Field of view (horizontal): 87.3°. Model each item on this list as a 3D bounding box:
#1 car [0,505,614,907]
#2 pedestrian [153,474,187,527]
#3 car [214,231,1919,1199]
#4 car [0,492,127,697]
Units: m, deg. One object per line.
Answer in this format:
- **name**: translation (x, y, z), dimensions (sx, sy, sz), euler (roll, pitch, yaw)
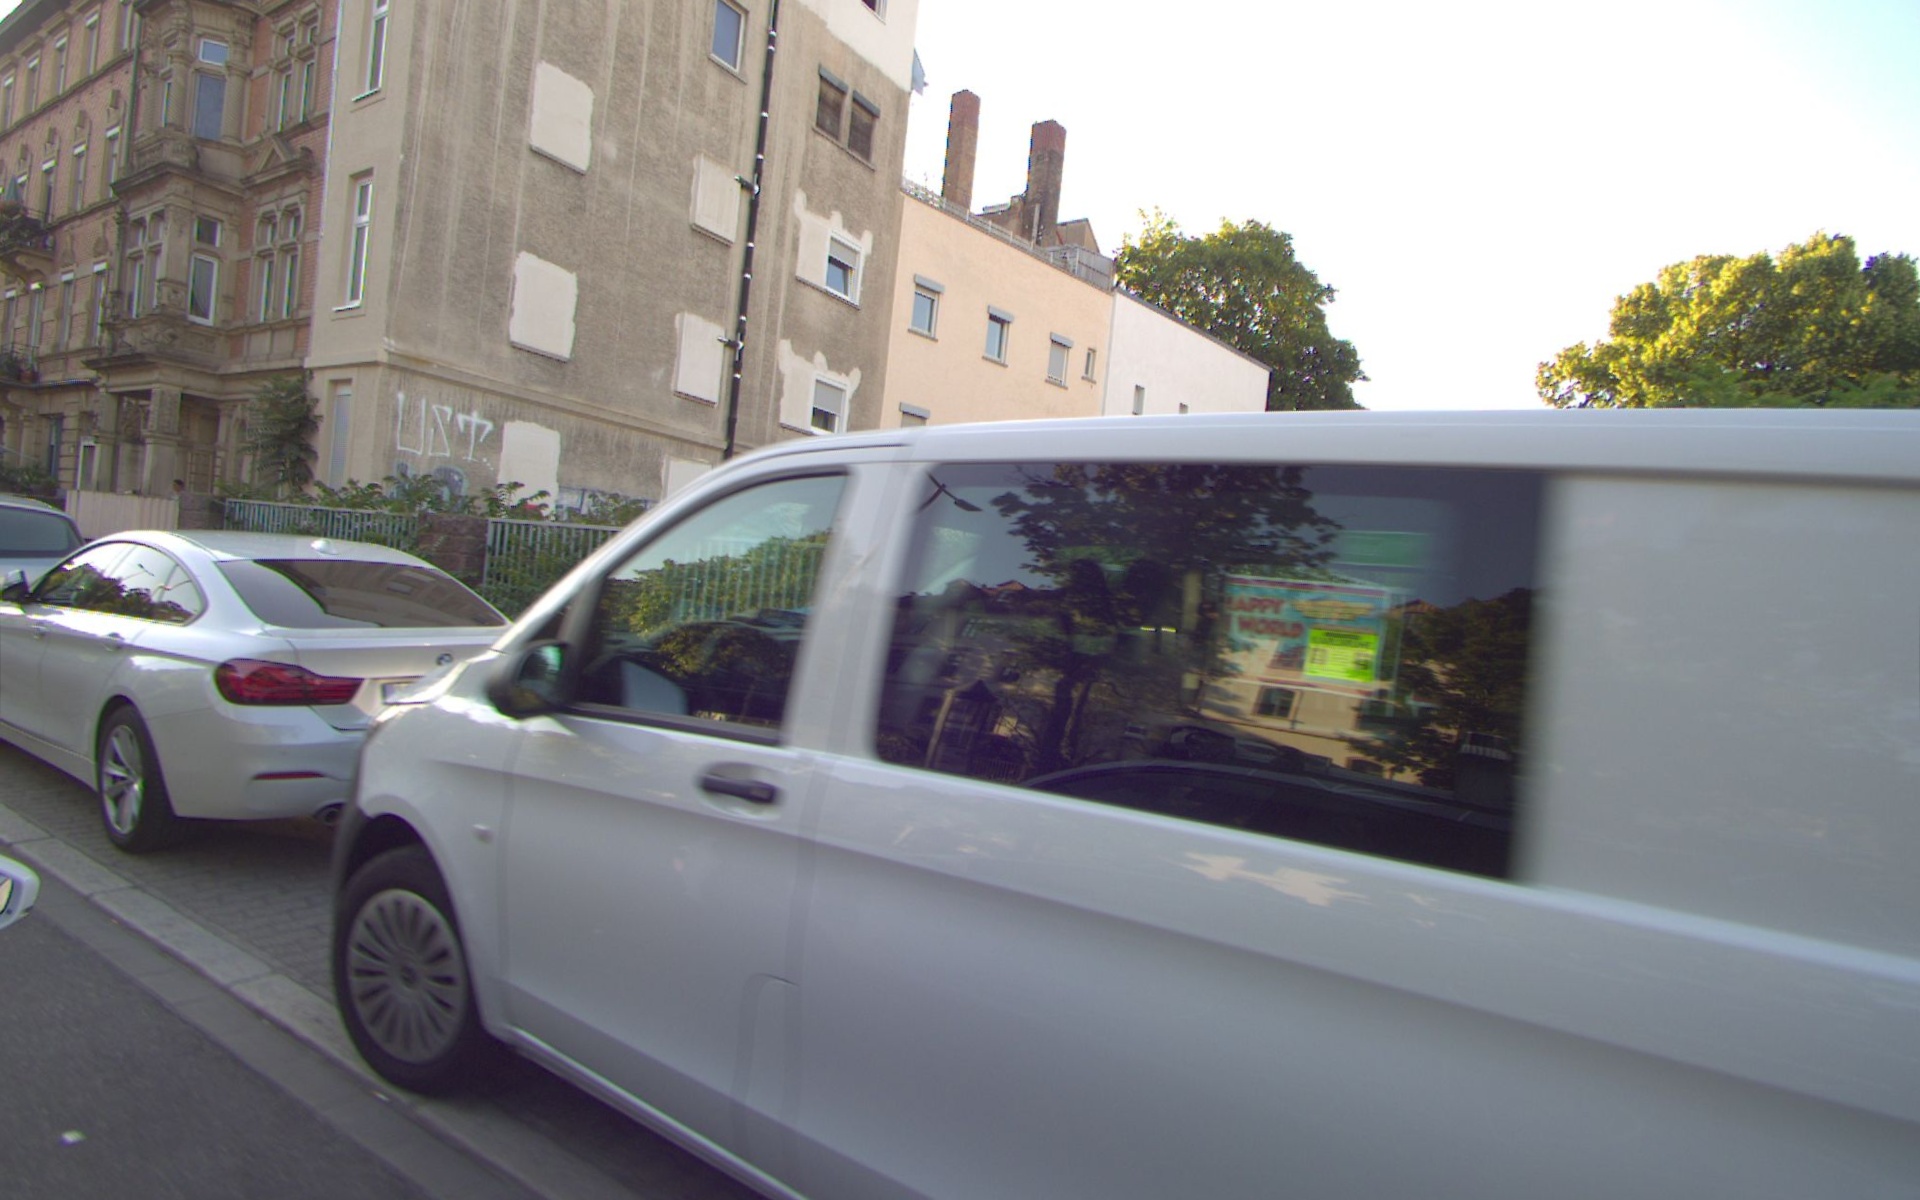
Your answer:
- **car**: translation (-4.220, 0.281, 5.777), dimensions (4.567, 1.404, 1.727), euler (6, 3, 33)
- **pedestrian**: translation (-16.941, -2.129, 21.566), dimensions (0.398, 1.041, 0.318), euler (7, -1, -25)
- **car**: translation (0.232, 0.511, 2.574), dimensions (5.097, 1.945, 1.885), euler (6, 3, 35)
- **car**: translation (-8.779, -0.198, 8.361), dimensions (3.828, 1.508, 1.700), euler (6, 3, 31)
